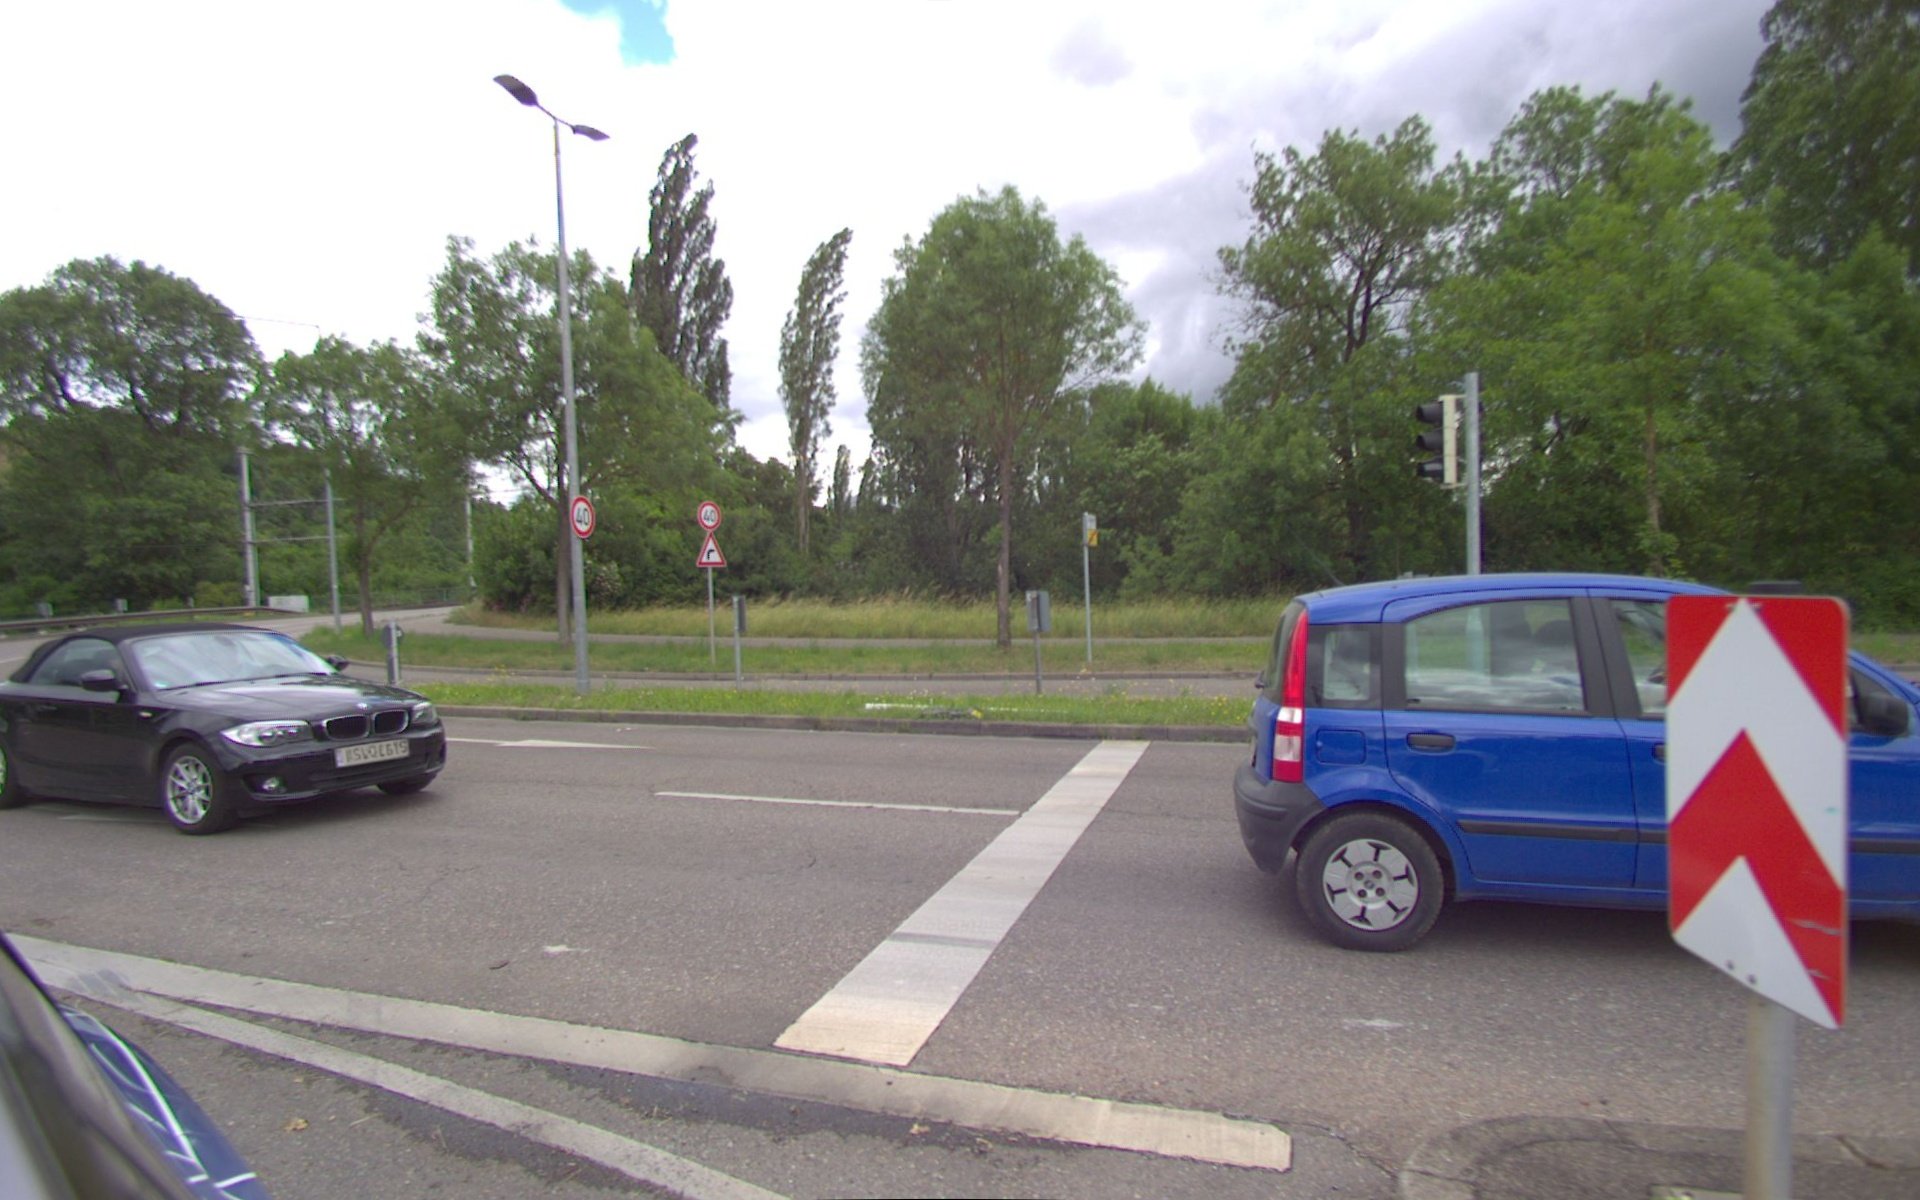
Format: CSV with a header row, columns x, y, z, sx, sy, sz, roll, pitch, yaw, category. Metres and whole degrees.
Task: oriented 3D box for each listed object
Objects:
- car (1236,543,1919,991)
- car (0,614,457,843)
x,y,z,sx,sy,sz,roll,pitch,yaw,category
2.935,0.573,4.324,3.349,1.519,1.540,-1,0,16,car
-5.961,0.853,7.790,4.059,1.378,1.555,-2,-1,25,car
